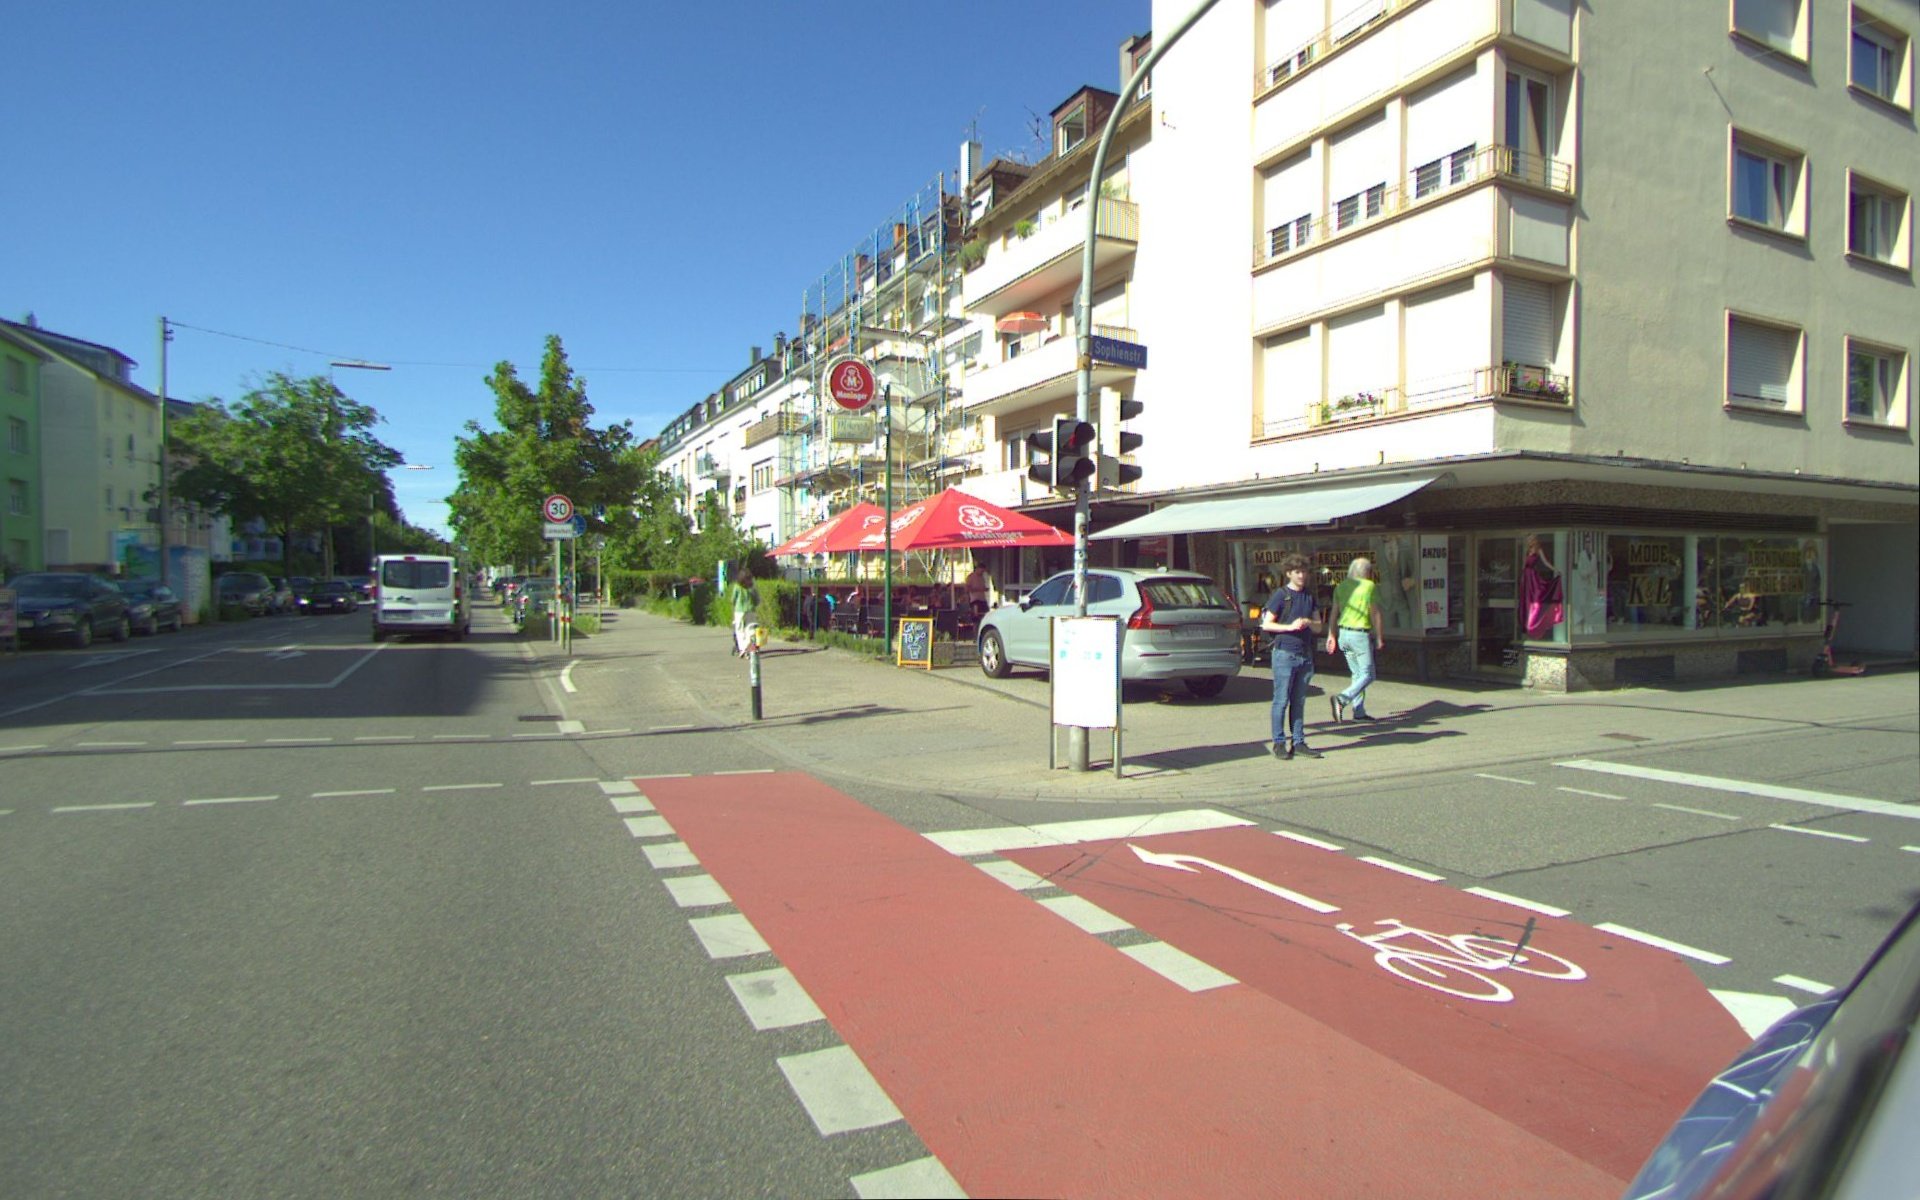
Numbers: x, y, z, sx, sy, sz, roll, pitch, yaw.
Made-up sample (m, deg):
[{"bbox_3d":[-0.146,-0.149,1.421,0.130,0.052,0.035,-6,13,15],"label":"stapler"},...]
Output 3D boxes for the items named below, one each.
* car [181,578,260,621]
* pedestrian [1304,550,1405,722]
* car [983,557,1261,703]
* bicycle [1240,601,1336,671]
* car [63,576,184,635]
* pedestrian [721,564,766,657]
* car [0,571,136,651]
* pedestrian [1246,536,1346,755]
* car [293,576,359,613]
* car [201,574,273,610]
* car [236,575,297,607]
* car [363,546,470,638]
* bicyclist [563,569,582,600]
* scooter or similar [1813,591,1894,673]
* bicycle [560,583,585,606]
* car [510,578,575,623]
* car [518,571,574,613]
[{"bbox_3d":[-26.313,-0.074,36.103,1.651,1.429,3.529,0,2,-26],"label":"car"},{"bbox_3d":[4.232,0.361,10.889,0.747,1.780,0.665,-1,1,-21],"label":"pedestrian"},{"bbox_3d":[2.012,0.284,13.815,1.788,1.683,4.007,-1,2,-26],"label":"car"},{"bbox_3d":[5.346,0.555,16.622,0.555,1.029,1.899,0,1,-15],"label":"bicycle"},{"bbox_3d":[-22.033,0.091,26.799,1.651,1.429,3.529,0,2,-26],"label":"car"},{"bbox_3d":[-3.903,0.178,18.215,0.632,1.638,0.595,0,1,-31],"label":"pedestrian"},{"bbox_3d":[-19.779,0.161,22.022,1.959,1.593,4.007,0,2,-26],"label":"car"},{"bbox_3d":[2.979,0.375,8.986,0.595,1.845,0.628,-1,1,-41],"label":"pedestrian"},{"bbox_3d":[-26.036,-0.263,41.677,1.831,1.393,4.007,-2,2,-25],"label":"car"},{"bbox_3d":[-28.117,-0.342,39.454,1.651,1.353,3.529,0,2,-25],"label":"car"},{"bbox_3d":[-30.569,-0.428,44.670,1.651,1.353,3.529,0,2,-25],"label":"car"},{"bbox_3d":[-12.984,-0.188,24.449,1.934,1.964,5.064,-1,0,-24],"label":"car"},{"bbox_3d":[-17.304,-0.705,45.189,0.642,1.380,0.884,0,1,-33],"label":"bicyclist"},{"bbox_3d":[14.115,0.489,15.985,1.203,1.240,0.528,0,1,-26],"label":"scooter or similar"},{"bbox_3d":[-17.309,-0.263,45.196,0.642,0.962,2.006,-1,2,-32],"label":"bicycle"},{"bbox_3d":[-13.477,-0.033,32.579,1.679,1.330,4.007,-1,2,-26],"label":"car"},{"bbox_3d":[-15.418,-0.339,37.581,1.679,1.471,4.007,-1,2,-26],"label":"car"}]
